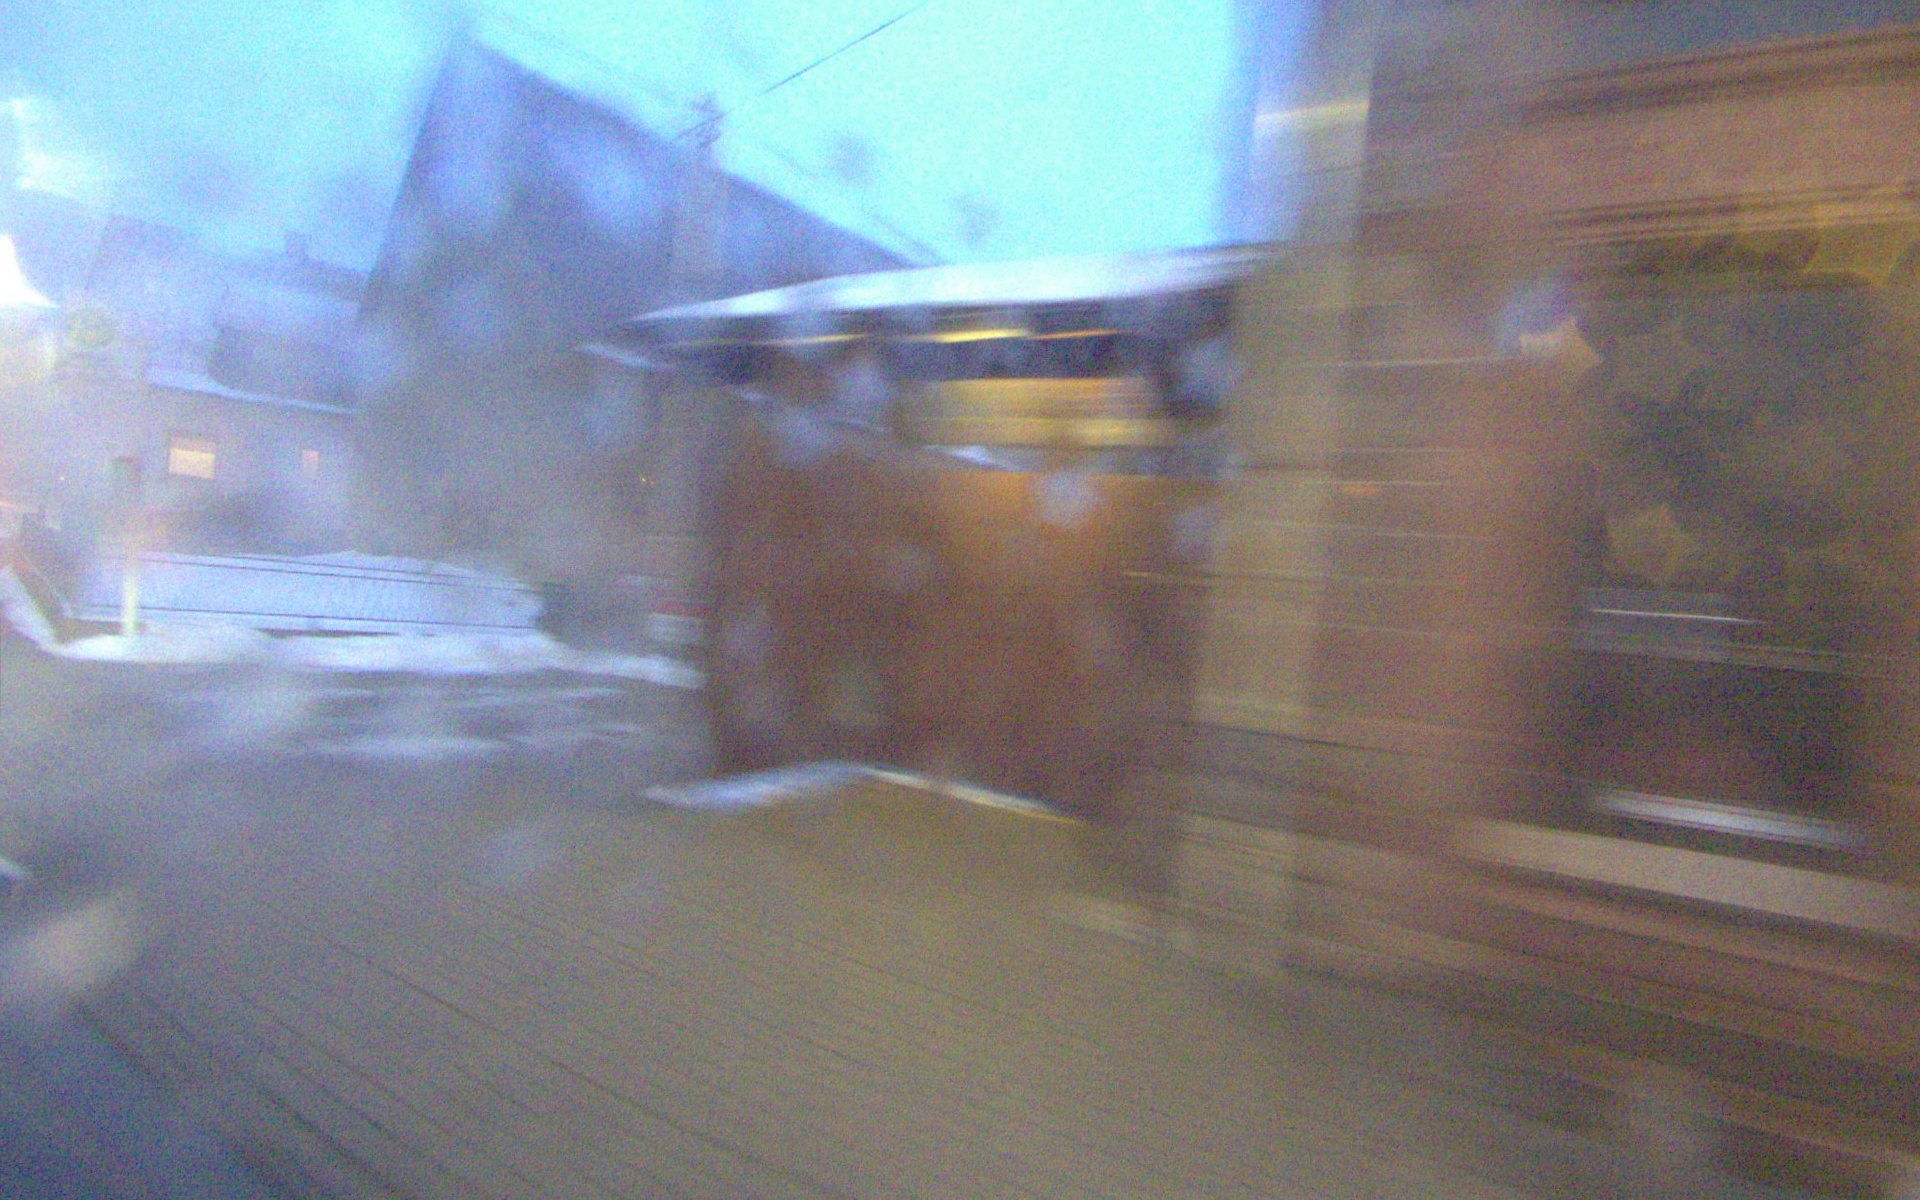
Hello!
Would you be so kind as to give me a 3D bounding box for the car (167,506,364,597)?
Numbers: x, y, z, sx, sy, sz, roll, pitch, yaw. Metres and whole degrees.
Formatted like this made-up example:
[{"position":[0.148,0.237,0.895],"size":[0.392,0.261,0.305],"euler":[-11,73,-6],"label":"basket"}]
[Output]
[{"position":[-18.049,-1.229,26.300],"size":[3.968,1.614,1.893],"euler":[10,-2,-36],"label":"car"}]
